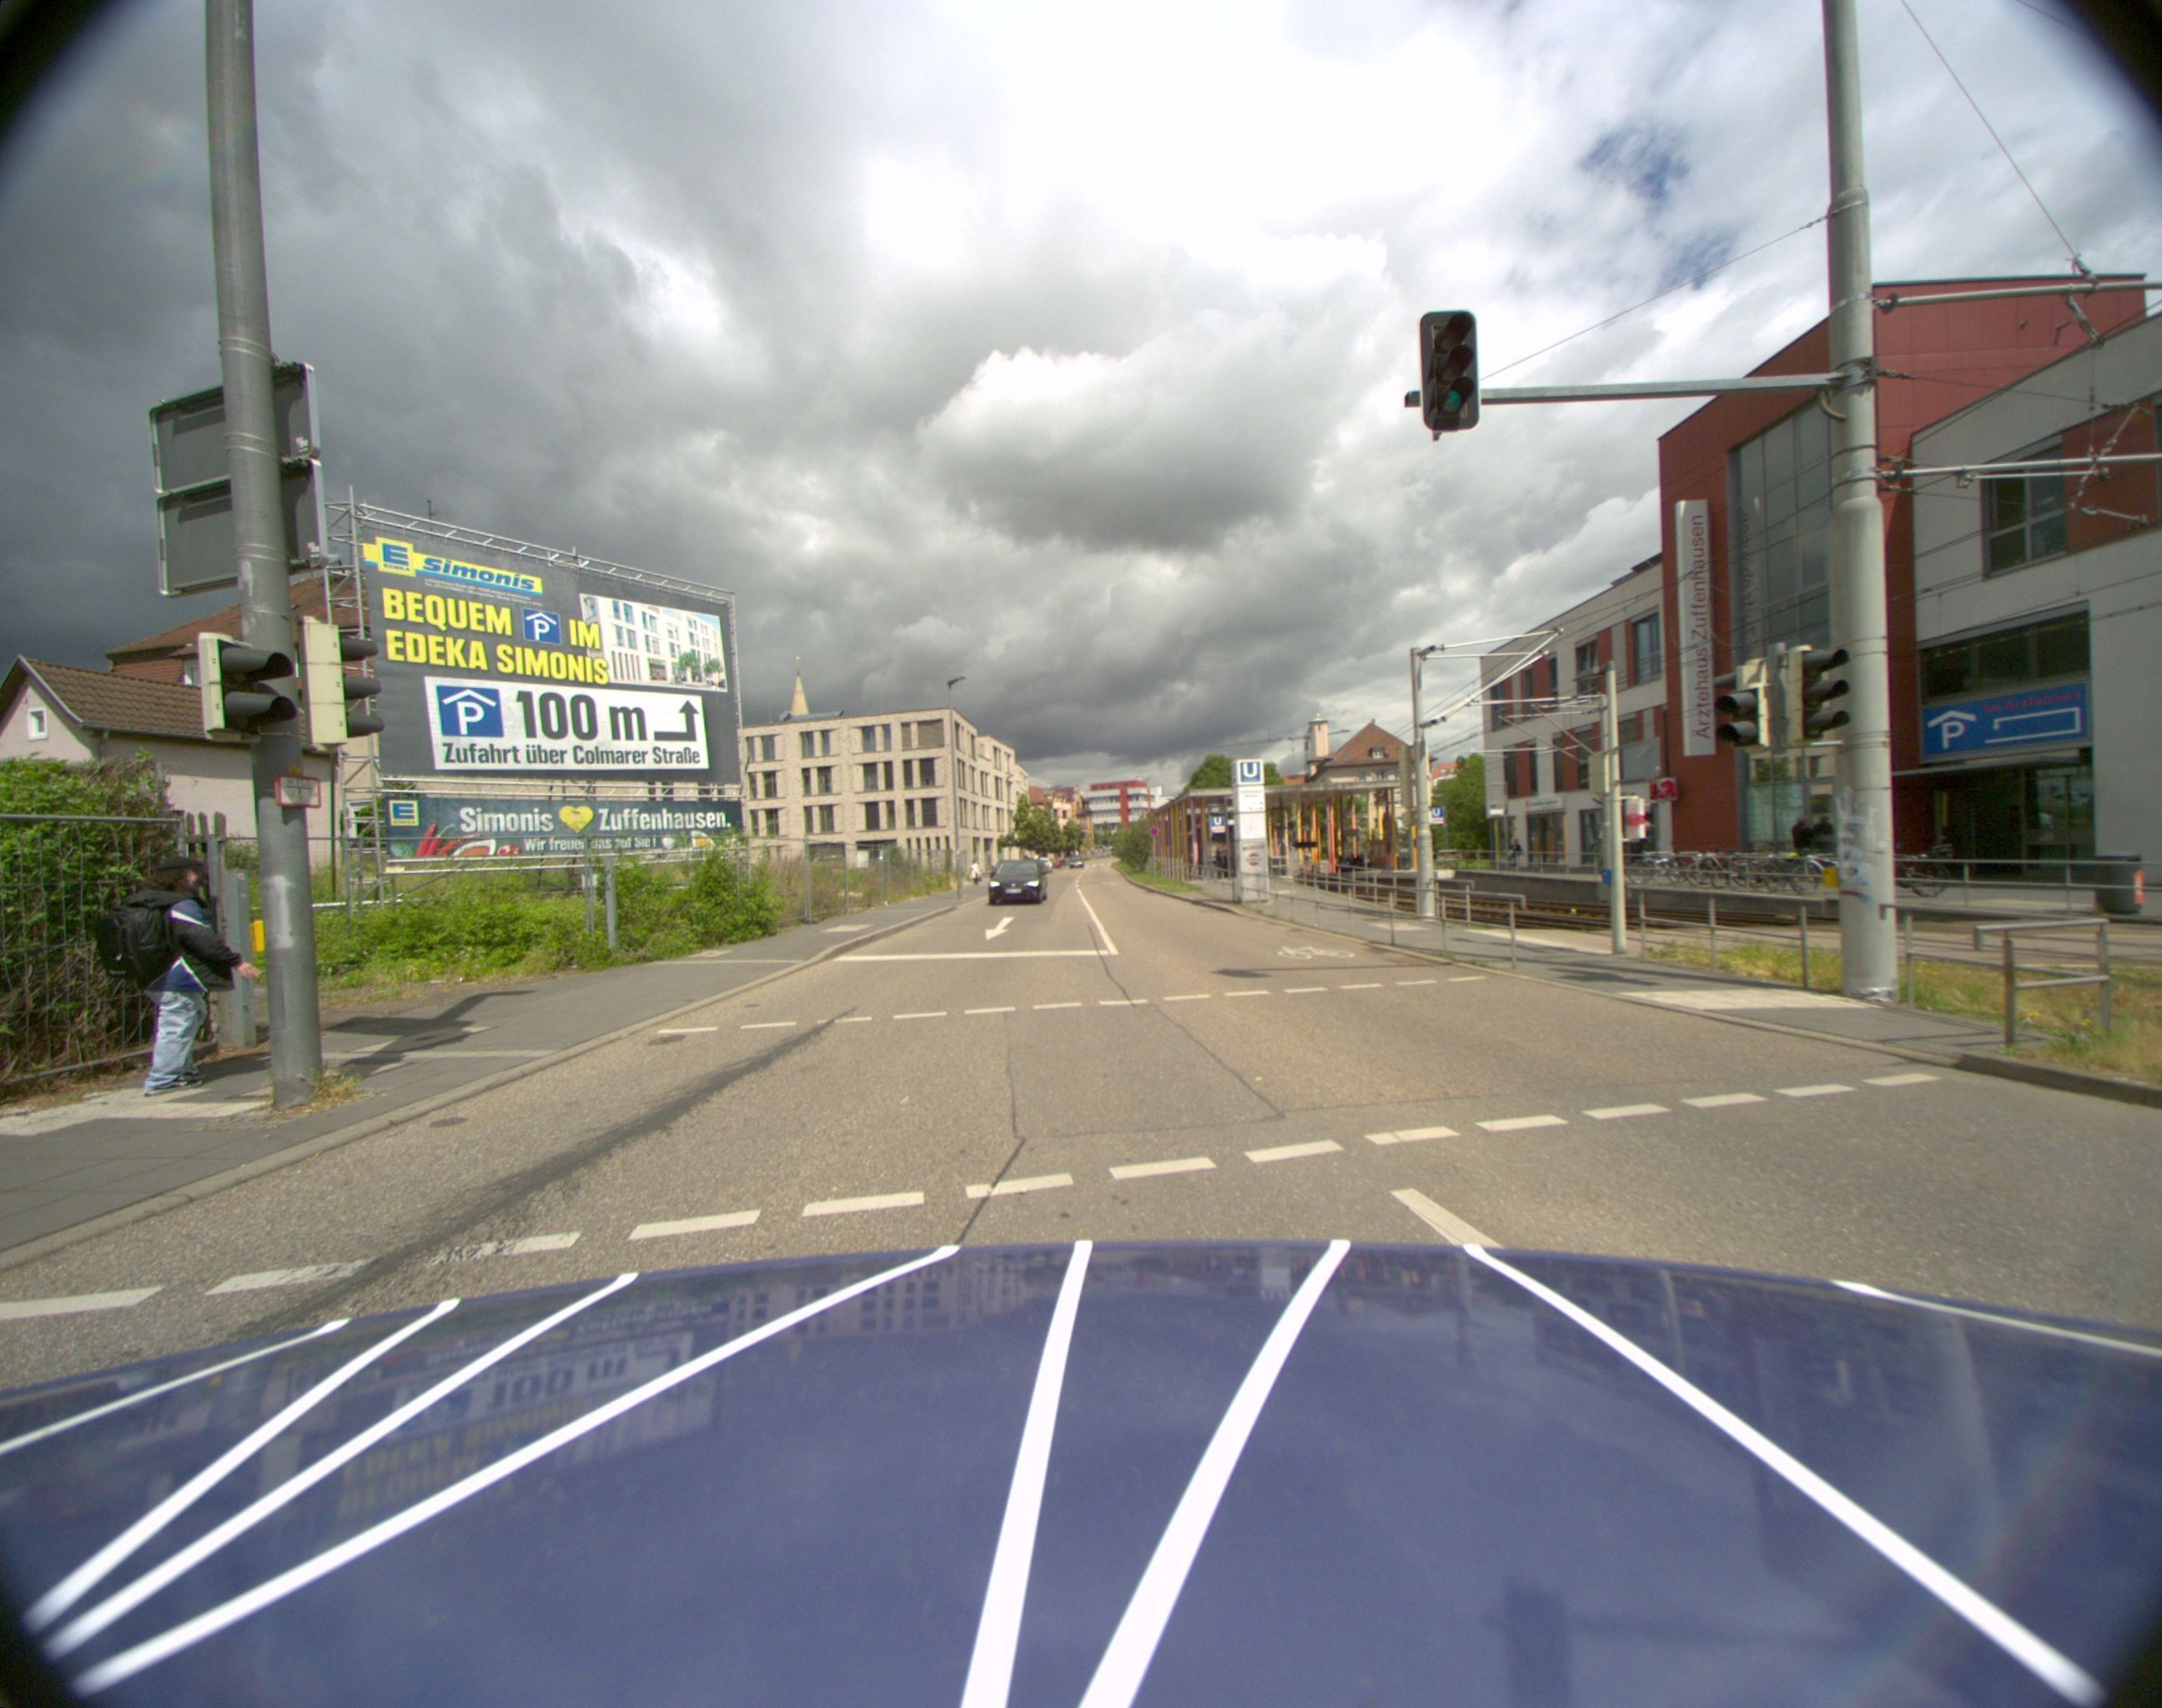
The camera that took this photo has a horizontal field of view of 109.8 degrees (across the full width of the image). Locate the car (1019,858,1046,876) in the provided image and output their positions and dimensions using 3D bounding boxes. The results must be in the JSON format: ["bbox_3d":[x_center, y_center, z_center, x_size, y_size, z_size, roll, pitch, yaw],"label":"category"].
[{"bbox_3d":[-3.799,0.991,59.957,1.677,1.367,3.795,-2,0,3],"label":"car"}]

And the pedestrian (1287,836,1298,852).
[{"bbox_3d":[26.810,-1.260,96.300,1.127,2.002,1.179,-2,0,6],"label":"pedestrian"}]

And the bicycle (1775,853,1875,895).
[{"bbox_3d":[17.648,0.473,18.038,1.862,0.930,0.454,-2,1,3],"label":"bicycle"}]

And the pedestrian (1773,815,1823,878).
[{"bbox_3d":[22.013,-0.236,23.339,0.881,1.835,0.862,-4,3,-27],"label":"pedestrian"}]

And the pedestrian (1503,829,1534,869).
[{"bbox_3d":[21.639,-0.264,37.593,0.864,1.957,1.105,-1,2,-1],"label":"pedestrian"}]

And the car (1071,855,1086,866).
[{"bbox_3d":[-0.253,0.777,94.686,1.677,1.299,3.794,-1,1,3],"label":"car"}]

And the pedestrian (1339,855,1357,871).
[{"bbox_3d":[19.185,0.653,54.587,0.943,1.128,0.886,-2,0,2],"label":"pedestrian"}]

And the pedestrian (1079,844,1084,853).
[{"bbox_3d":[0.098,-0.960,137.629,0.673,1.503,0.783,-2,0,3],"label":"pedestrian"}]

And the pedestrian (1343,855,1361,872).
[{"bbox_3d":[19.089,0.673,53.597,0.943,1.128,0.886,-2,0,2],"label":"pedestrian"}]

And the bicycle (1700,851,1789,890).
[{"bbox_3d":[17.551,0.433,20.121,1.861,0.934,0.454,-2,1,5],"label":"bicycle"}]

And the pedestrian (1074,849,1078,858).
[{"bbox_3d":[-0.840,-0.119,137.791,0.673,1.503,0.783,-2,0,3],"label":"pedestrian"}]

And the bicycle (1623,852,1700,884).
[{"bbox_3d":[17.535,0.426,22.979,1.861,0.876,0.455,-2,1,9],"label":"bicycle"}]

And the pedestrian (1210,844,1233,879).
[{"bbox_3d":[7.705,0.401,41.643,1.105,1.903,0.864,-1,2,2],"label":"pedestrian"}]

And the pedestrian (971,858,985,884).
[{"bbox_3d":[-5.950,0.982,43.910,0.673,1.503,0.782,-2,0,1],"label":"pedestrian"}]

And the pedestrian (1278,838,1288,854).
[{"bbox_3d":[25.275,-0.979,95.138,1.127,2.002,1.459,-2,0,13],"label":"pedestrian"}]

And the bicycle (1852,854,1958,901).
[{"bbox_3d":[17.726,0.506,16.365,1.739,0.947,0.428,-2,1,3],"label":"bicycle"}]

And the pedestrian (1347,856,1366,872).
[{"bbox_3d":[19.074,0.691,52.639,0.943,1.128,0.886,-2,0,2],"label":"pedestrian"}]

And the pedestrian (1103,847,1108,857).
[{"bbox_3d":[4.889,-0.454,151.408,0.800,2.002,0.810,-1,0,9],"label":"pedestrian"}]

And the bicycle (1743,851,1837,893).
[{"bbox_3d":[17.685,0.442,18.969,1.862,0.957,0.454,-2,1,3],"label":"bicycle"}]

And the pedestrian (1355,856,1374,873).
[{"bbox_3d":[19.269,0.705,51.683,0.943,1.128,0.886,-2,0,2],"label":"pedestrian"}]

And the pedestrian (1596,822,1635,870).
[{"bbox_3d":[22.057,-0.339,31.399,0.864,1.957,1.106,-1,2,3],"label":"pedestrian"}]

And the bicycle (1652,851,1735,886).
[{"bbox_3d":[17.594,0.412,21.851,1.861,0.927,0.455,-2,1,9],"label":"bicycle"}]

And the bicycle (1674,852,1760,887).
[{"bbox_3d":[17.569,0.426,21.022,1.861,0.917,0.455,-2,1,8],"label":"bicycle"}]

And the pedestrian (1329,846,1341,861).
[{"bbox_3d":[25.264,-0.071,75.638,0.745,1.442,0.902,-2,0,-7],"label":"pedestrian"}]

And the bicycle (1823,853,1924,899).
[{"bbox_3d":[17.714,0.493,16.998,1.739,0.952,0.428,-2,1,3],"label":"bicycle"}]

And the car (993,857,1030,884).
[{"bbox_3d":[-4.154,0.965,46.113,1.677,1.415,3.794,-1,1,3],"label":"car"}]

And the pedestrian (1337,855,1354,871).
[{"bbox_3d":[19.319,0.641,55.437,0.943,1.128,0.886,-2,0,2],"label":"pedestrian"}]

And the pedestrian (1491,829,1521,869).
[{"bbox_3d":[21.075,-0.238,37.707,0.864,1.957,1.105,-1,2,-1],"label":"pedestrian"}]

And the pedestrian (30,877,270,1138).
[{"bbox_3d":[-6.391,0.984,5.254,0.765,1.633,0.778,-1,0,12],"label":"pedestrian"}]

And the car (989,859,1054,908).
[{"bbox_3d":[-1.963,0.959,25.967,1.677,1.425,3.794,-2,1,3],"label":"car"}]
